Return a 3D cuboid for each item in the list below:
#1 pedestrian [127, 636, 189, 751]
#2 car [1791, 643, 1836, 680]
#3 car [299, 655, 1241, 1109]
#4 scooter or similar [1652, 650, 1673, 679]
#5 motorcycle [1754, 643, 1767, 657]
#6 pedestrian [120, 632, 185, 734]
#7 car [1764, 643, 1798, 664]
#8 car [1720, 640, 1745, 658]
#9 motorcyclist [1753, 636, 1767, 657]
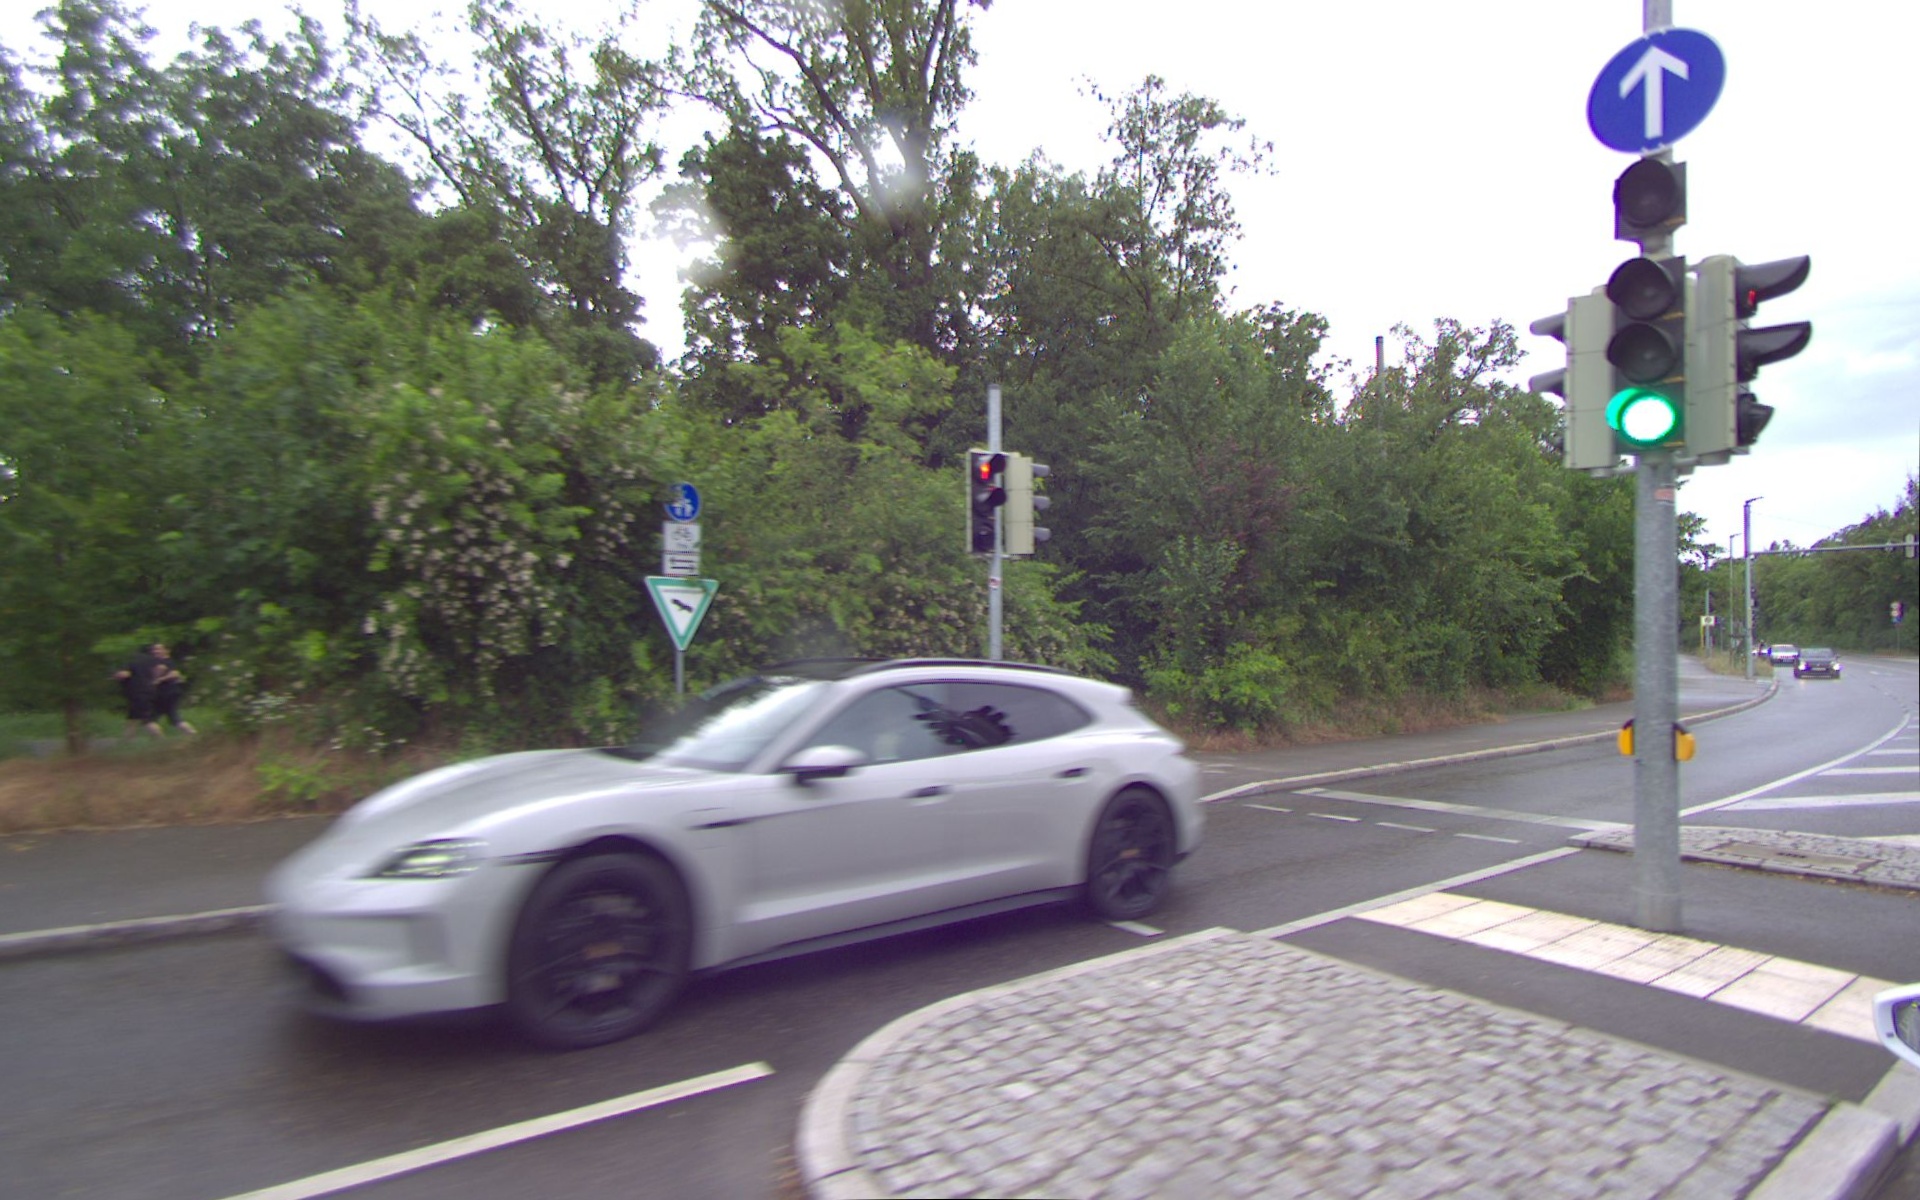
[{"bbox_3d":[-11.898,1.374,14.918,0.601,1.654,0.463,1,-2,-29],"label":"pedestrian"},{"bbox_3d":[42.034,3.011,49.502,1.558,1.753,3.757,-3,-4,40],"label":"car"},{"bbox_3d":[-0.718,1.007,5.348,4.562,1.394,1.926,2,-4,-38],"label":"car"},{"bbox_3d":[30.300,2.769,43.347,0.512,1.228,1.460,-1,-2,44],"label":"scooter or similar"},{"bbox_3d":[62.974,3.956,79.046,0.586,1.064,1.993,-2,-3,33],"label":"motorcycle"},{"bbox_3d":[-11.460,1.165,14.271,0.594,1.396,0.641,1,-1,-30],"label":"pedestrian"},{"bbox_3d":[55.319,3.584,67.724,1.720,1.369,4.191,-3,-4,39],"label":"car"},{"bbox_3d":[73.732,4.653,95.875,1.767,1.602,4.543,-2,-3,37],"label":"car"},{"bbox_3d":[63.014,3.636,79.118,0.736,1.653,0.924,-2,-3,34],"label":"motorcyclist"}]
